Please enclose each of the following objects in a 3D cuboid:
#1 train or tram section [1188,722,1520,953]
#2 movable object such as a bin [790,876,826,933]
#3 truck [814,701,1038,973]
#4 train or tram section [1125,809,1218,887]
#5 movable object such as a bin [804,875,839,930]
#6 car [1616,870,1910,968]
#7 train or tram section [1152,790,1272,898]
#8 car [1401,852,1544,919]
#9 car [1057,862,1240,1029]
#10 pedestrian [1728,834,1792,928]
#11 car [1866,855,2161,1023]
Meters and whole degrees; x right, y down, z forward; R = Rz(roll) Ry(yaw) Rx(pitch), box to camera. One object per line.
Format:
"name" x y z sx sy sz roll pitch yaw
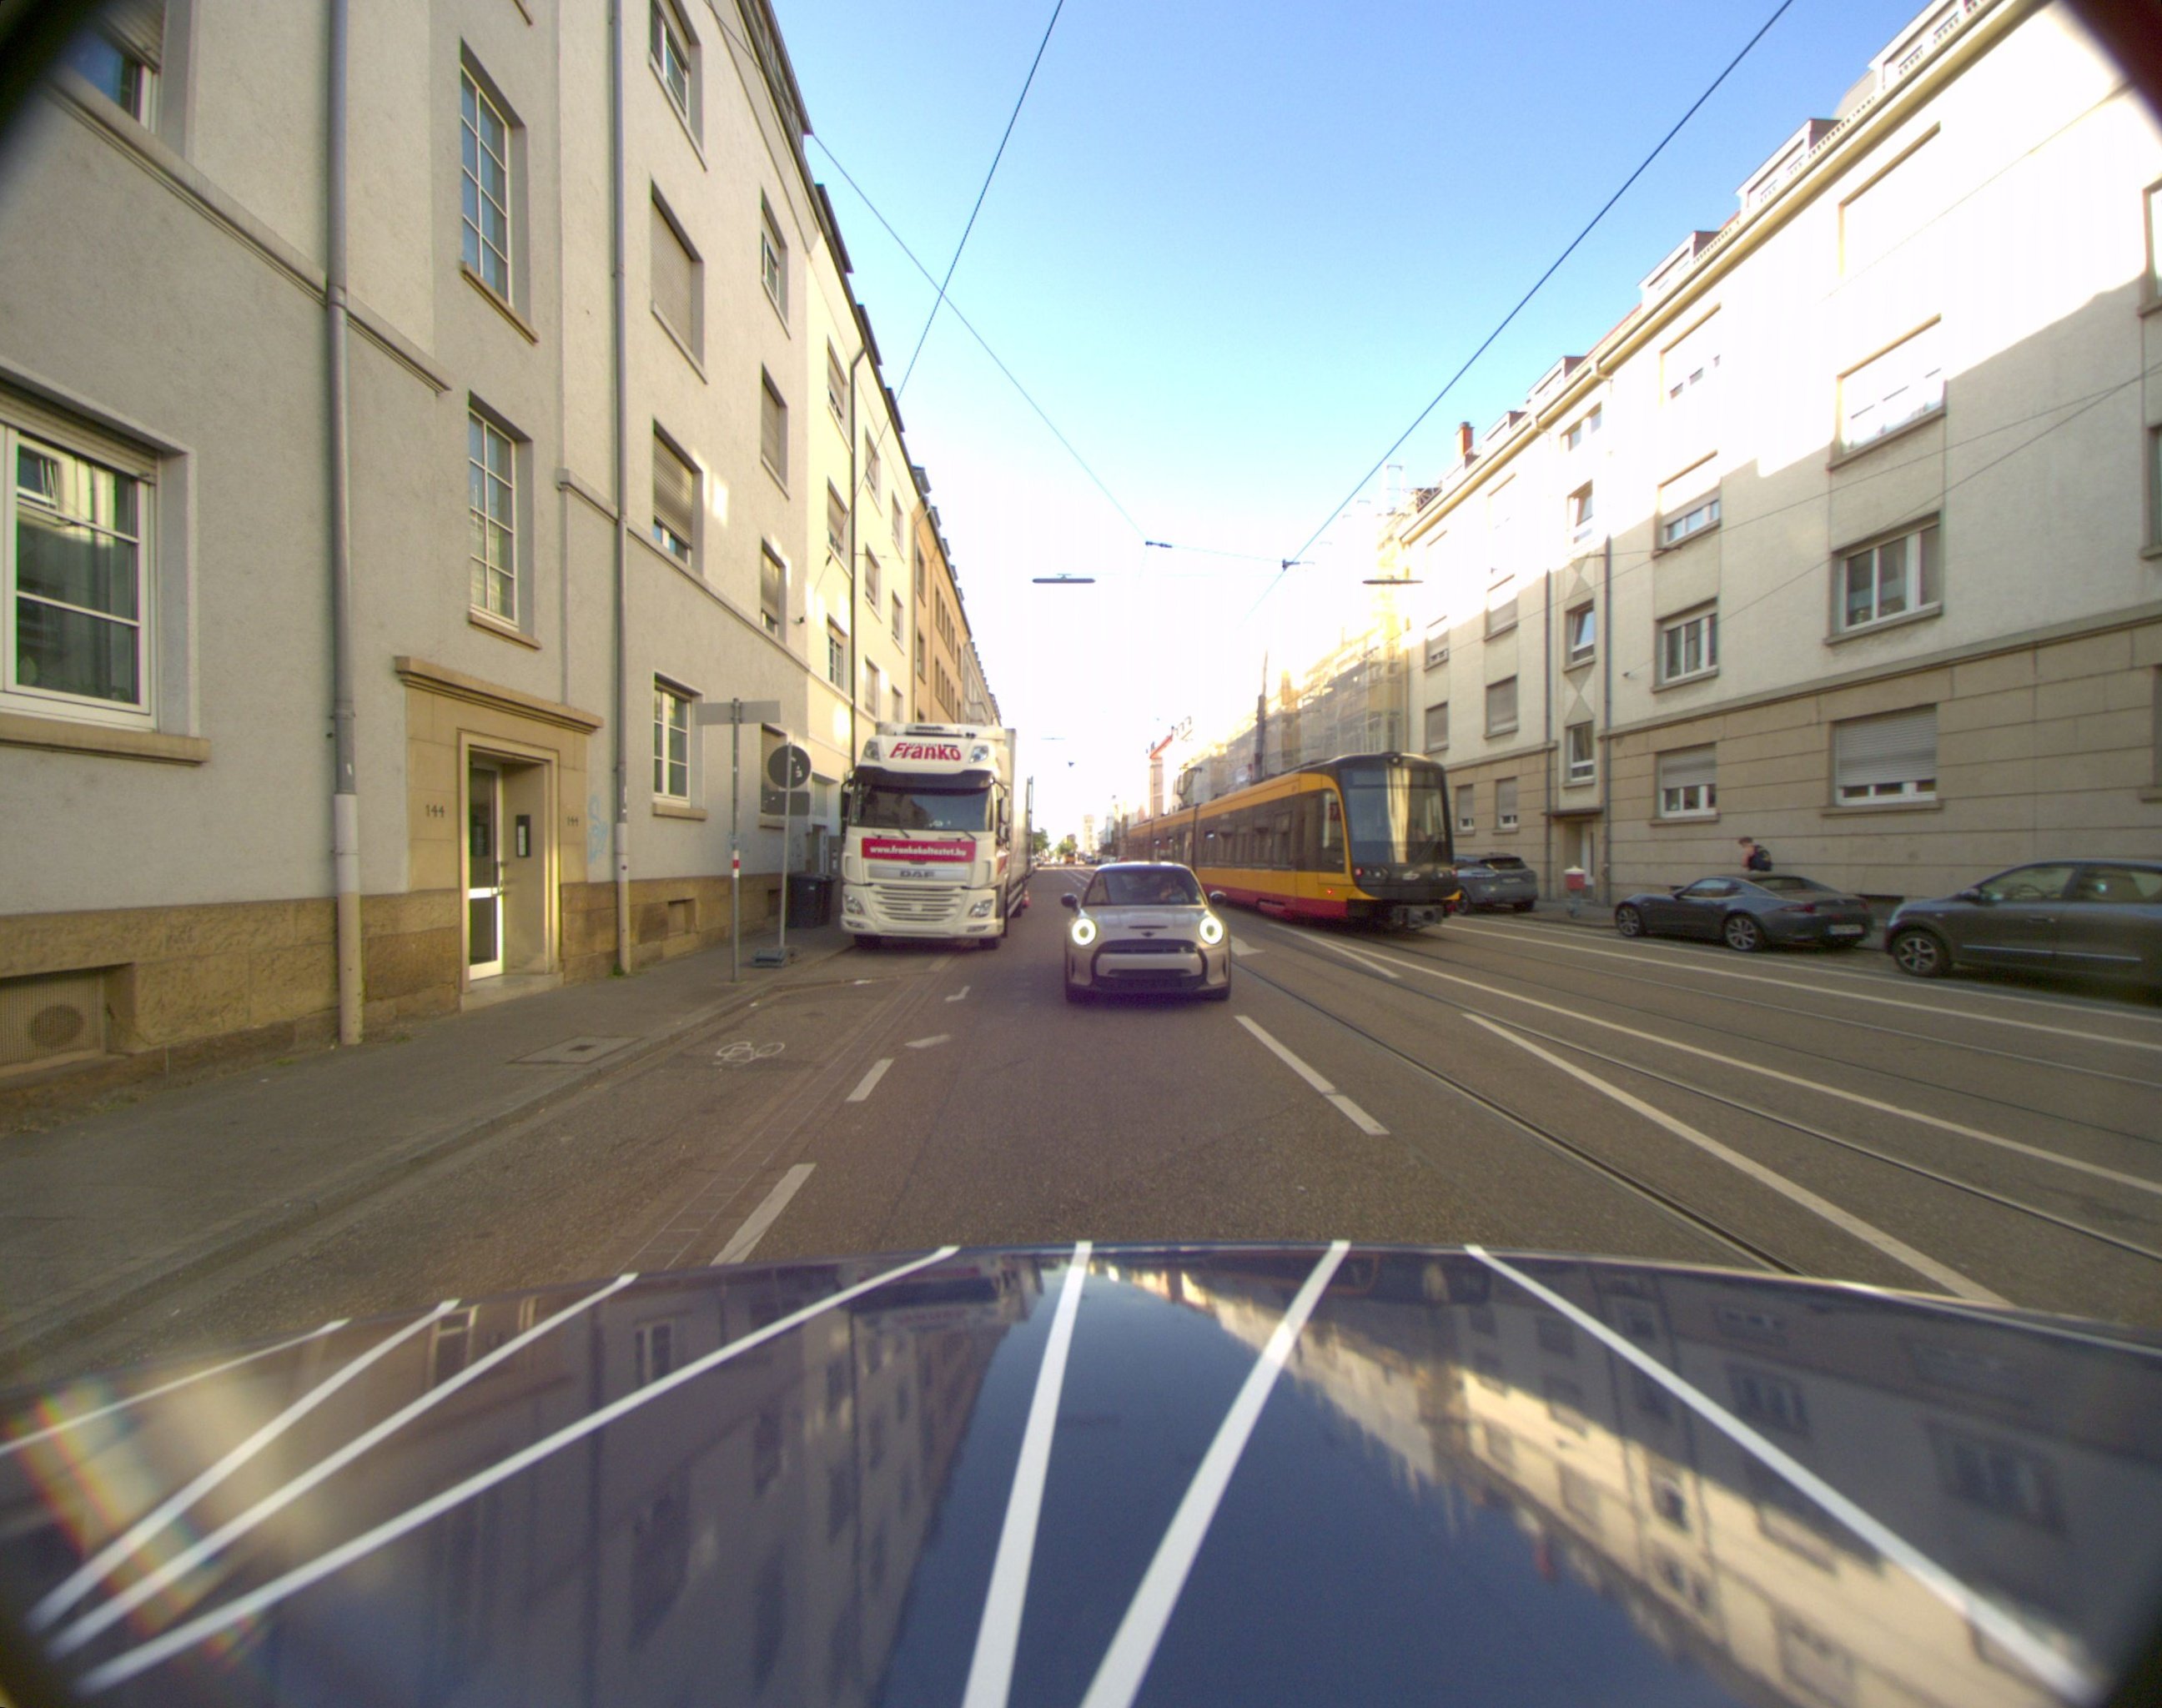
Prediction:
"train or tram section" 5.416 -0.334 19.345 2.752 3.611 14.260 -2 1 -2
"movable object such as a bin" -5.384 0.989 15.015 0.512 1.085 0.495 -2 1 -4
"truck" -2.615 -0.251 17.144 2.899 3.939 11.704 -2 0 -2
"train or tram section" 4.559 -0.318 41.706 3.070 3.573 12.626 1 0 -2
"movable object such as a bin" -5.329 0.988 15.609 0.512 1.085 0.495 -2 1 -4
"car" 11.280 0.983 12.926 1.751 1.269 3.488 -2 1 -4
"train or tram section" 4.971 -0.373 30.819 2.833 3.610 9.081 -2 1 -2
"car" 10.813 0.795 21.340 1.712 1.582 4.112 -2 1 -3
"car" 0.622 0.869 9.037 1.692 1.495 4.000 0 0 0
"pedestrian" 13.627 0.524 15.274 0.600 1.822 0.733 -2 1 0
"car" 11.385 0.842 8.425 1.670 1.563 3.496 -2 1 -2
